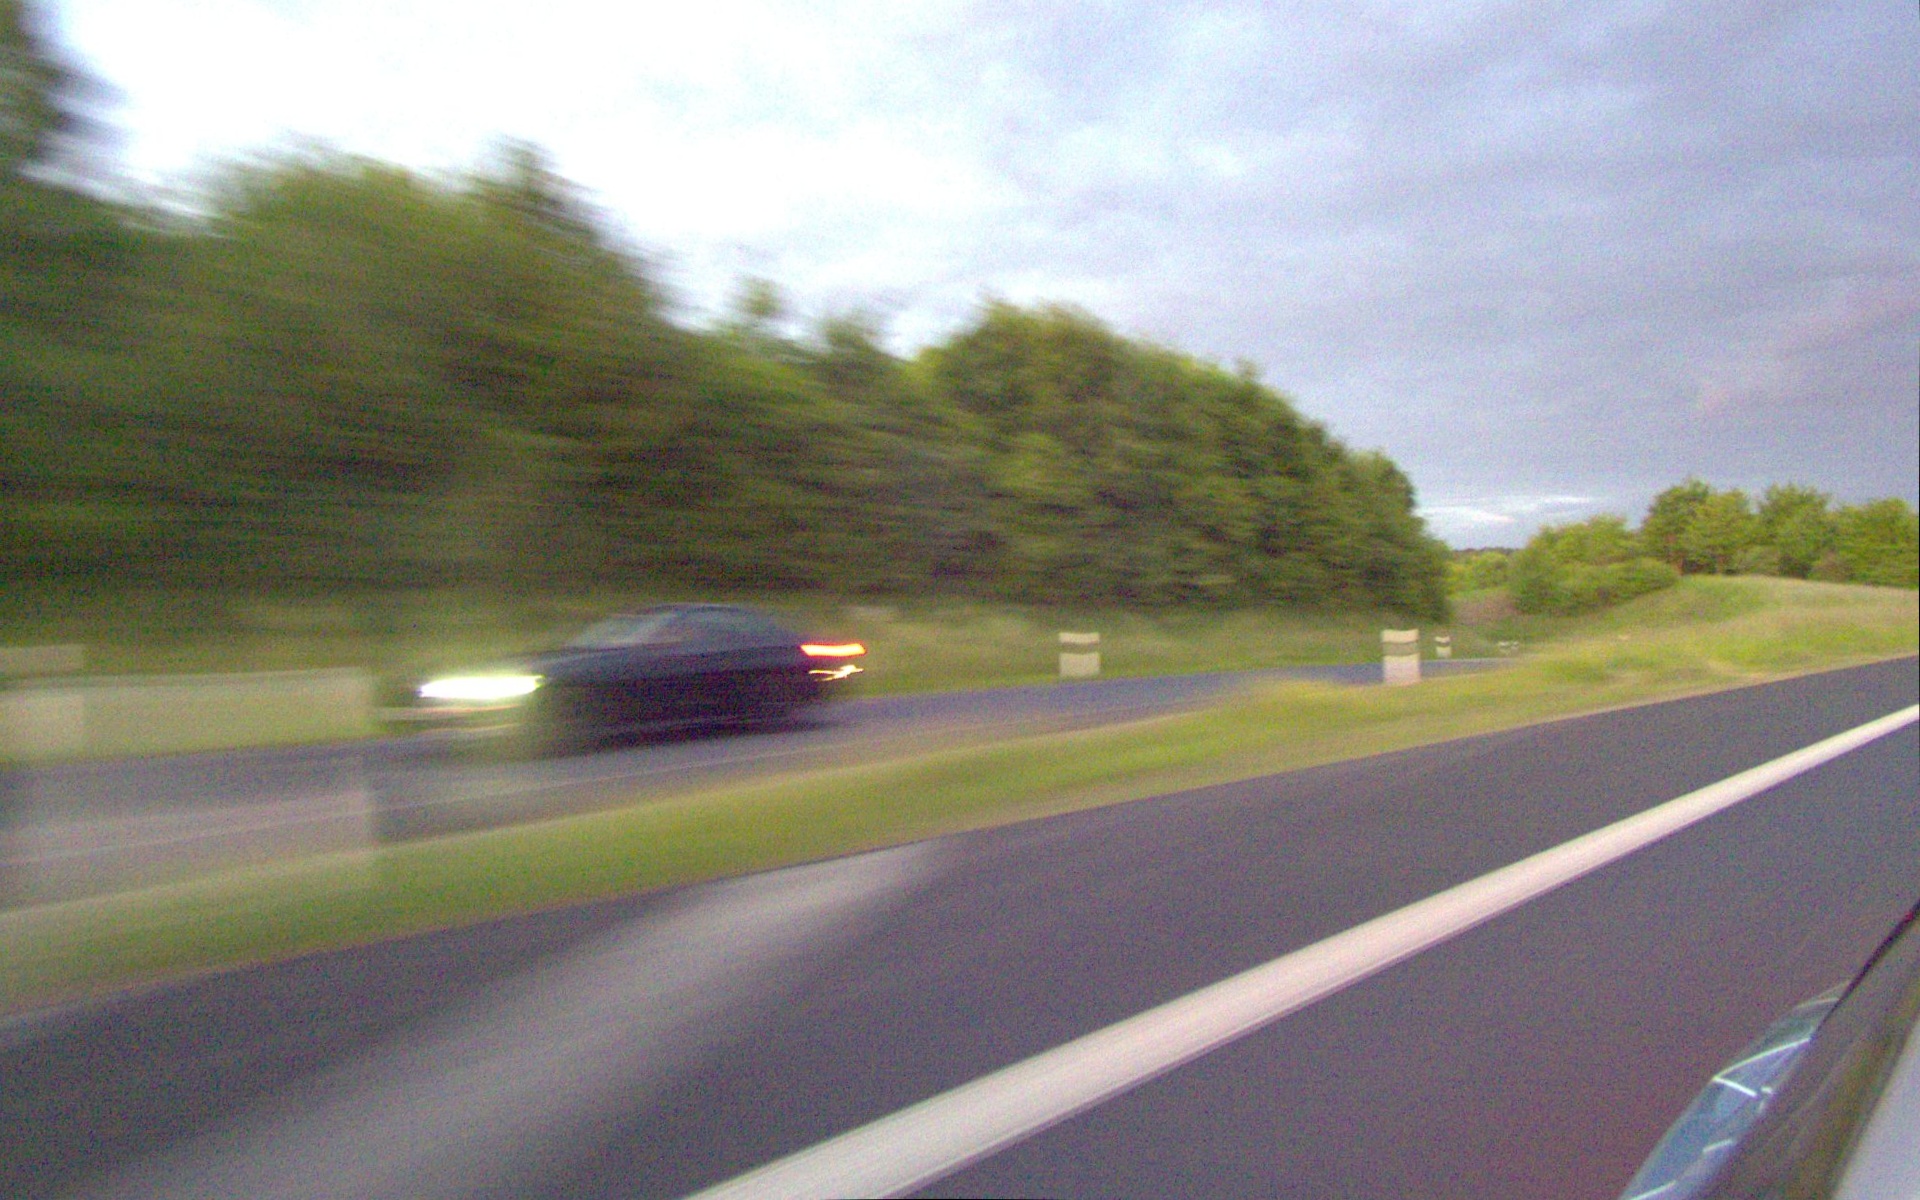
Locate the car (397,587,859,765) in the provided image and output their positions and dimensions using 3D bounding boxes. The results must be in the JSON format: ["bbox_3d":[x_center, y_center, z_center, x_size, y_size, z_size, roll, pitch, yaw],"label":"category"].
[{"bbox_3d":[-3.324,0.666,10.790,1.797,1.511,4.366,-3,-2,43],"label":"car"}]
